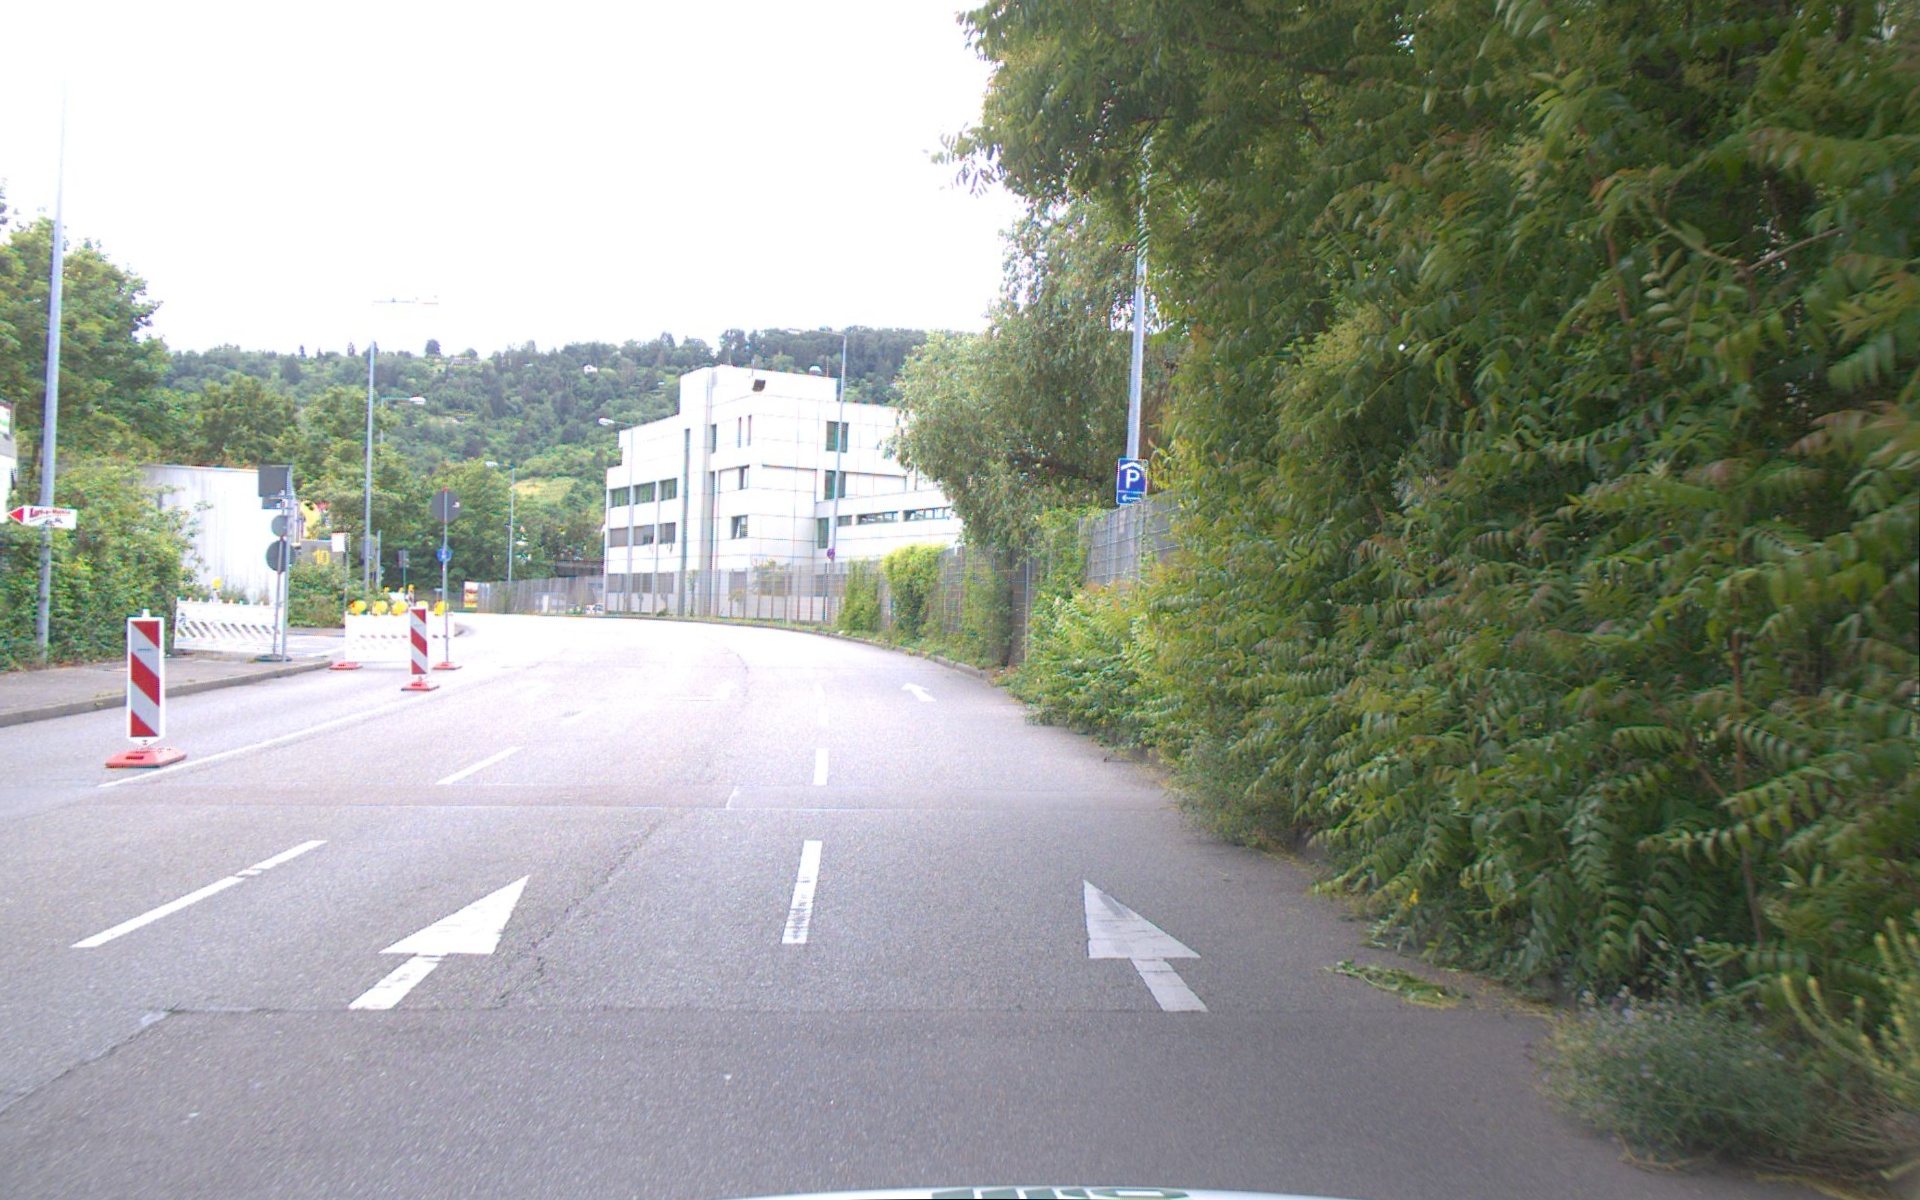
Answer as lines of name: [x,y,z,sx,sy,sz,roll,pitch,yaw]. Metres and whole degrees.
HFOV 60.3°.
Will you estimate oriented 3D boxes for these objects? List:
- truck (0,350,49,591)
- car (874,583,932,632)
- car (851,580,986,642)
truck: [-21.275,-2.382,28.146,9.457,4.061,3.041,2,-2,-14]
car: [-2.576,0.380,73.106,1.957,2.049,4.835,2,-1,-9]
car: [-1.820,0.450,70.559,6.064,2.302,1.987,4,0,43]
